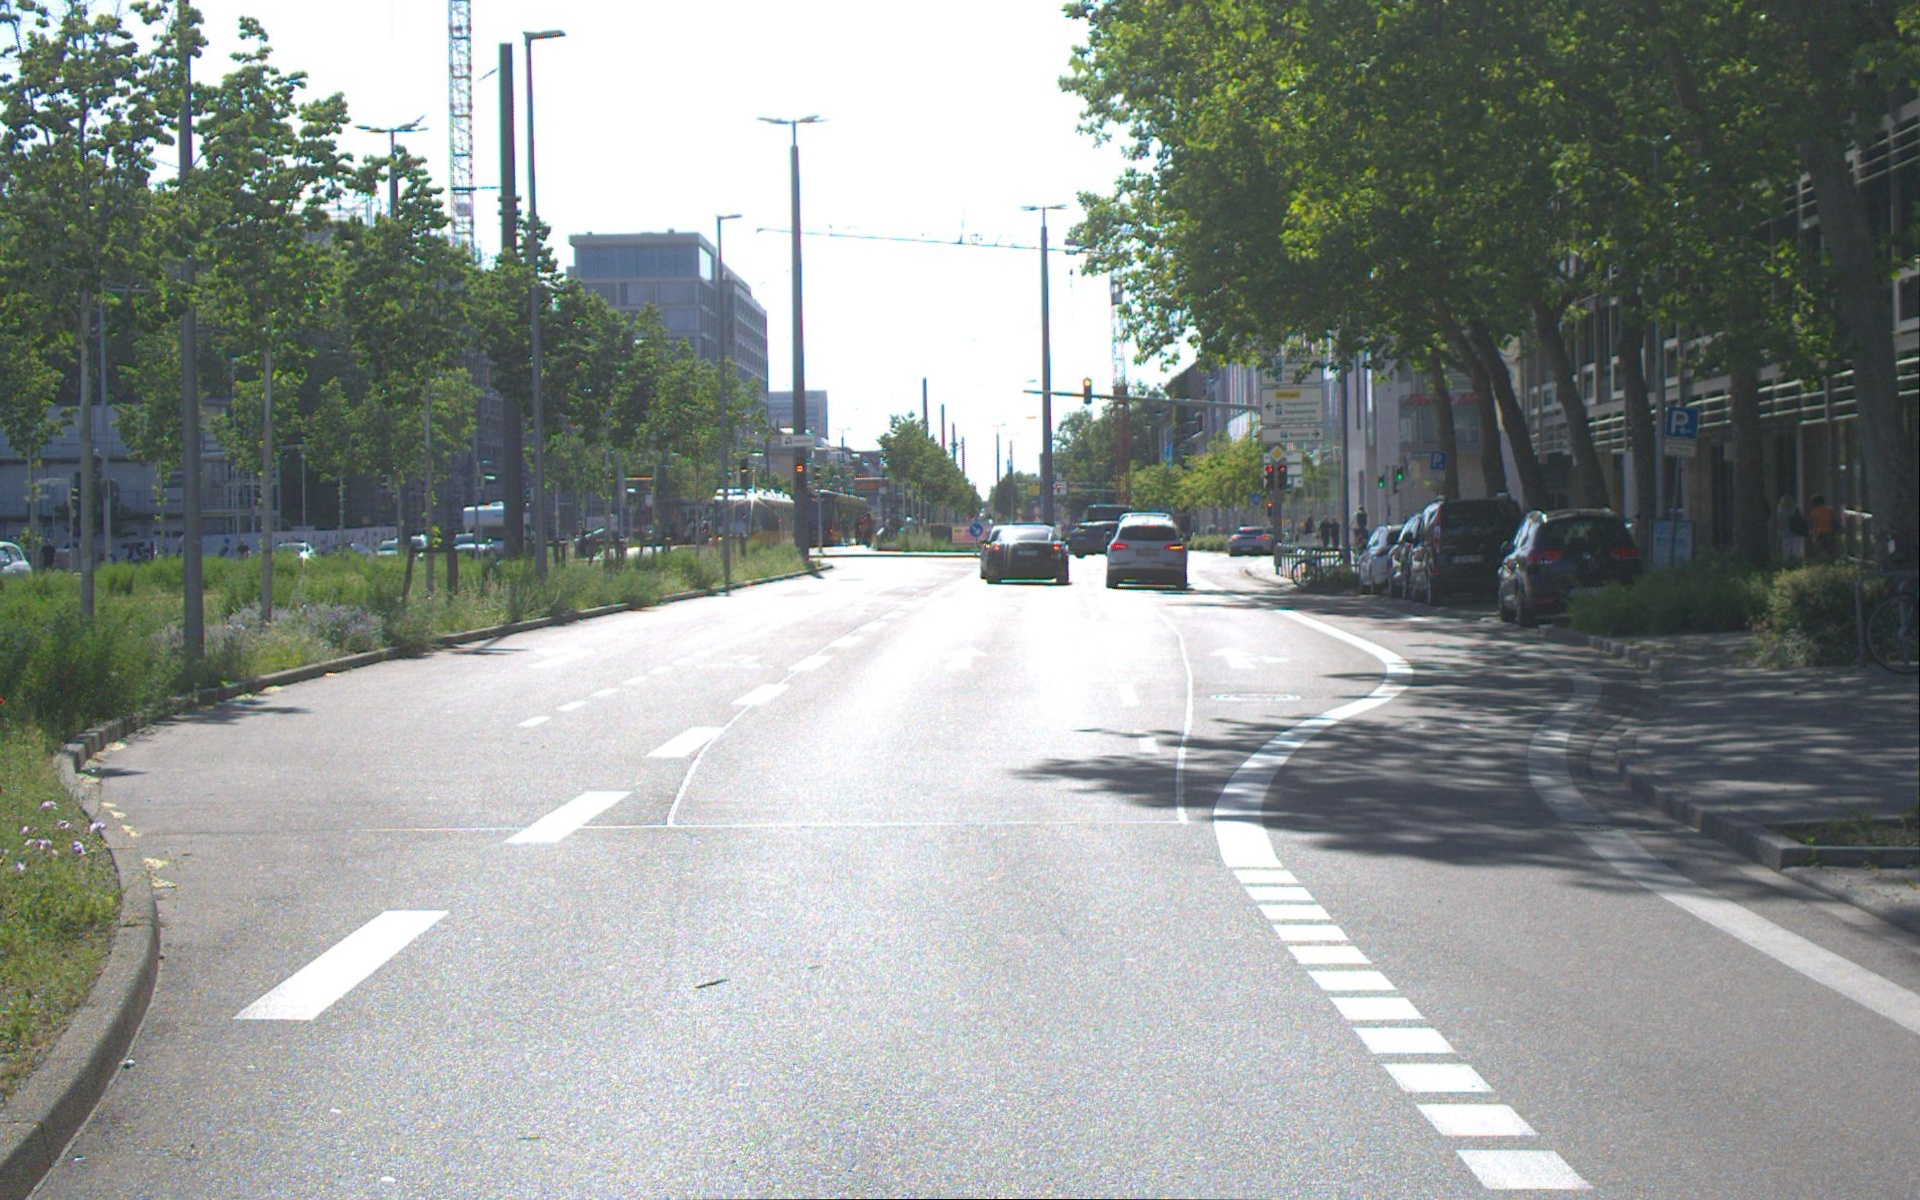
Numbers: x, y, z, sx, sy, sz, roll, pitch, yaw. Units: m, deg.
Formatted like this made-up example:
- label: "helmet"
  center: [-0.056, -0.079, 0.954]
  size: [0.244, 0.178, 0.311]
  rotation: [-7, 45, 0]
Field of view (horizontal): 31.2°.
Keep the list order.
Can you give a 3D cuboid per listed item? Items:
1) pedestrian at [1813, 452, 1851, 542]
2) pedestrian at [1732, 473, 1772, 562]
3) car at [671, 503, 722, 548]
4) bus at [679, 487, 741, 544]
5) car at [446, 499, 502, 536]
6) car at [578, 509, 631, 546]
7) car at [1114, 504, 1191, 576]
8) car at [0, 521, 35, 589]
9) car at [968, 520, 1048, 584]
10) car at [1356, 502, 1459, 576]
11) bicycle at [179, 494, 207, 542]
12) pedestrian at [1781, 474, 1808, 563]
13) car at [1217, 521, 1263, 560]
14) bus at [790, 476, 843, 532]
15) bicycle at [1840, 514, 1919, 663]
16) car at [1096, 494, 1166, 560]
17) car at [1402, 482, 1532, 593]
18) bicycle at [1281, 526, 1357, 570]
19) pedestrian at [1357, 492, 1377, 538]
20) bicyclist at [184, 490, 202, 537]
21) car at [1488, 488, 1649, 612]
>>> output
- label: "pedestrian"
  center: [15.674, -1.855, 61.828]
  size: [0.553, 1.597, 0.573]
  rotation: [0, 2, 2]
- label: "pedestrian"
  center: [14.214, -1.485, 61.706]
  size: [0.505, 1.579, 0.635]
  rotation: [-1, 2, -7]
- label: "car"
  center: [-11.096, -3.123, 144.935]
  size: [1.896, 1.809, 4.000]
  rotation: [1, 1, -1]
- label: "bus"
  center: [-12.798, -4.305, 176.674]
  size: [2.627, 2.773, 8.845]
  rotation: [1, 1, -1]
- label: "car"
  center: [-16.517, -2.801, 116.954]
  size: [1.376, 1.174, 3.220]
  rotation: [1, 1, 1]
- label: "car"
  center: [-12.028, -2.443, 116.434]
  size: [1.376, 1.174, 3.220]
  rotation: [1, 1, 1]
- label: "car"
  center: [4.499, -1.419, 80.183]
  size: [1.722, 1.612, 4.186]
  rotation: [0, 2, 3]
- label: "car"
  center: [-20.627, -0.927, 71.625]
  size: [1.633, 1.393, 3.833]
  rotation: [-1, 2, 0]
- label: "car"
  center: [1.182, -1.197, 84.766]
  size: [1.912, 1.481, 4.010]
  rotation: [-1, 2, 1]
- label: "car"
  center: [9.342, -1.300, 72.090]
  size: [1.704, 1.487, 4.600]
  rotation: [-1, 2, 2]
- label: "bicycle"
  center: [-23.797, -2.548, 106.674]
  size: [0.360, 1.450, 1.914]
  rotation: [0, 2, 2]
- label: "pedestrian"
  center: [14.973, -1.466, 61.695]
  size: [0.315, 1.579, 0.502]
  rotation: [-1, 2, -7]
- label: "car"
  center: [12.113, -2.577, 148.867]
  size: [1.662, 1.643, 3.701]
  rotation: [1, 1, 0]
- label: "bus"
  center: [-8.057, -5.377, 193.460]
  size: [2.627, 2.949, 9.900]
  rotation: [1, 1, -1]
- label: "bicycle"
  center: [8.701, -0.143, 29.776]
  size: [1.937, 1.232, 0.579]
  rotation: [-4, 2, -1]
- label: "car"
  center: [4.685, -2.028, 94.778]
  size: [1.721, 1.776, 4.186]
  rotation: [-1, 2, 0]
- label: "car"
  center: [8.745, -1.108, 59.587]
  size: [1.704, 1.783, 4.192]
  rotation: [-3, 2, 2]
- label: "bicycle"
  center: [8.430, -1.217, 80.697]
  size: [1.693, 0.954, 0.478]
  rotation: [-2, 2, -2]
- label: "pedestrian"
  center: [12.858, -2.692, 108.572]
  size: [0.562, 1.435, 0.631]
  rotation: [1, 1, 9]
- label: "bicyclist"
  center: [-23.795, -2.693, 106.627]
  size: [0.394, 1.449, 0.539]
  rotation: [1, 1, 1]
- label: "car"
  center: [8.450, -0.738, 48.069]
  size: [1.704, 1.637, 4.636]
  rotation: [0, 2, 4]
